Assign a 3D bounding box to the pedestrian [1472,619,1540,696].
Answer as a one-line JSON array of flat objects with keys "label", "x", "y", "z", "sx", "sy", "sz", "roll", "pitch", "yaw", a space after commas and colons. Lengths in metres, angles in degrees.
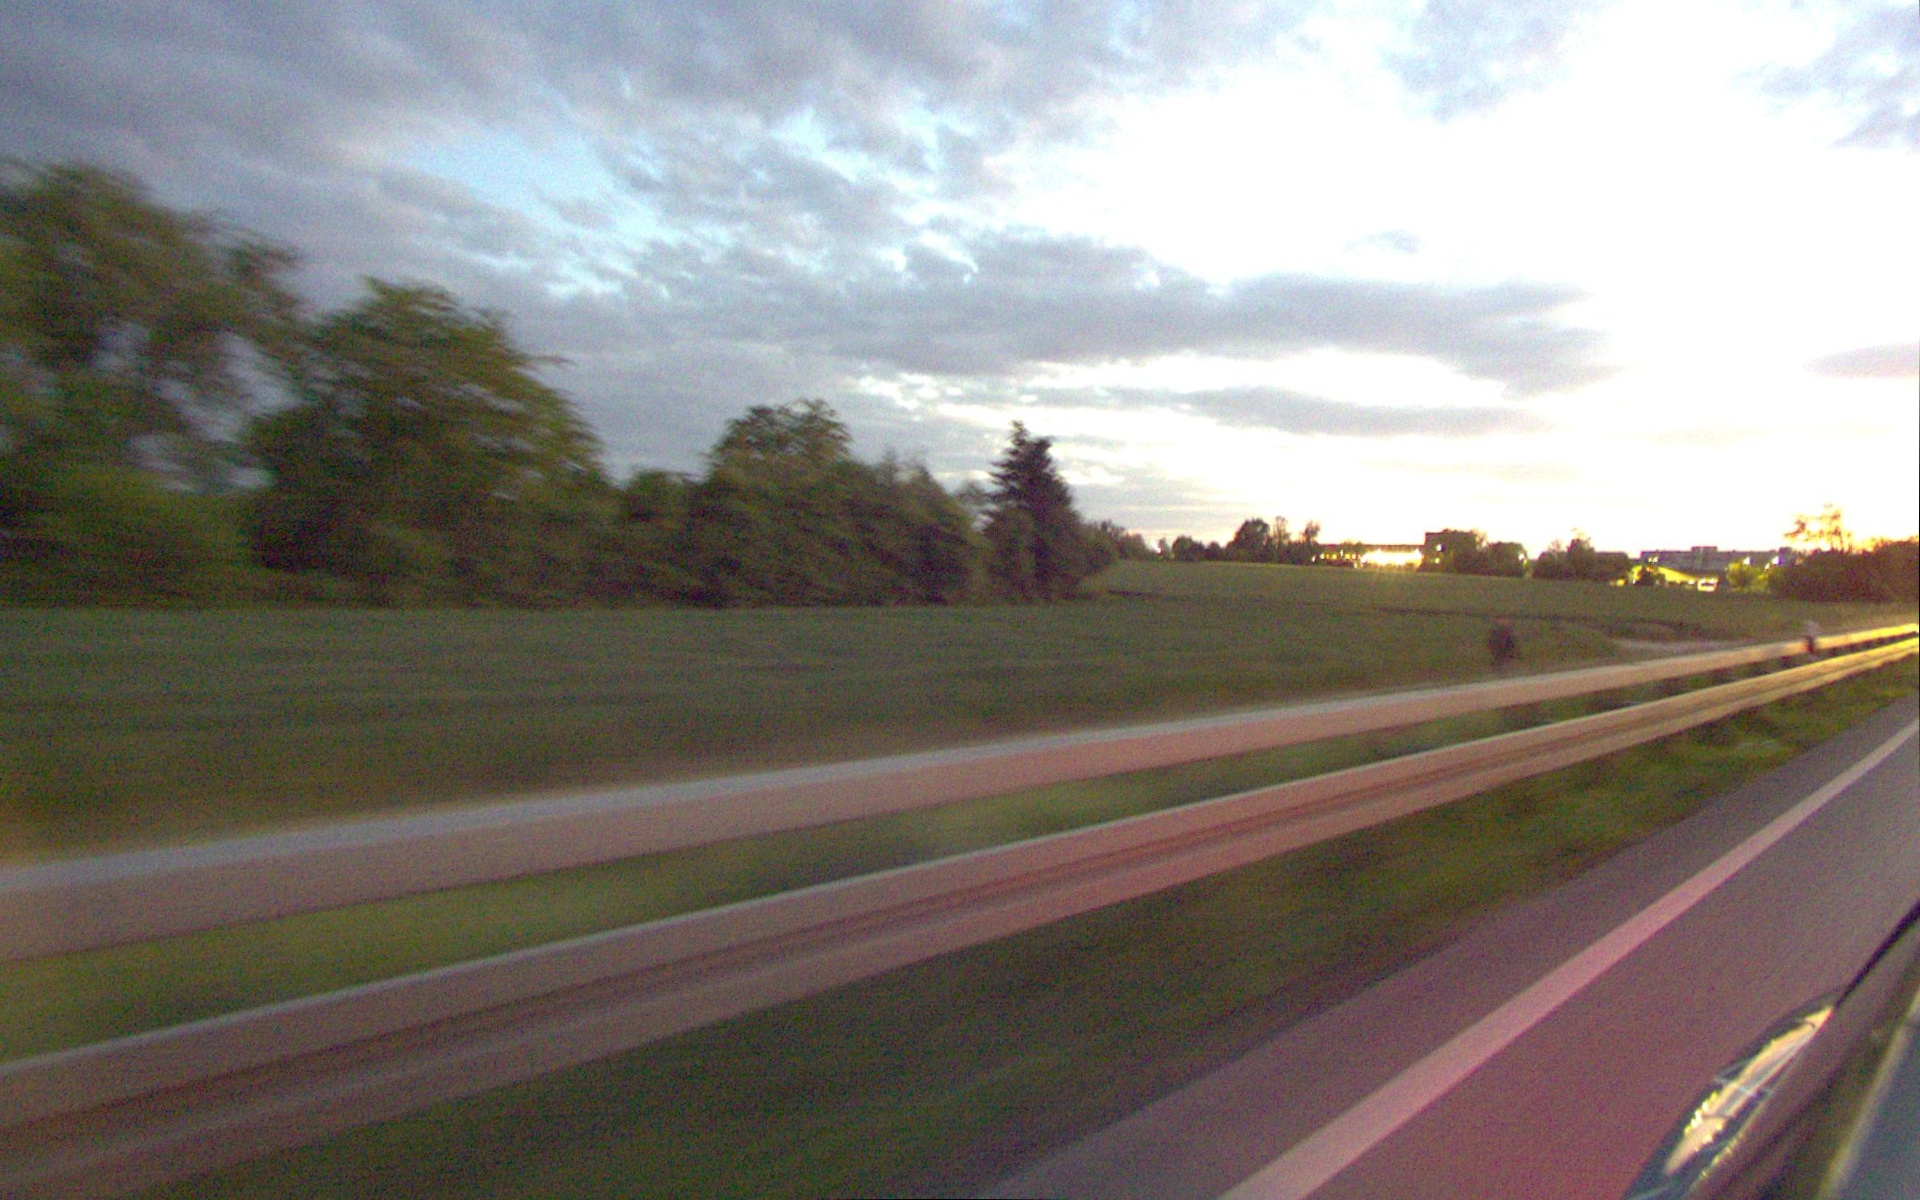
[{"label": "pedestrian", "x": 12.537, "y": 1.287, "z": 23.249, "sx": 1.099, "sy": 1.664, "sz": 1.064, "roll": 0, "pitch": 0, "yaw": -41}]
